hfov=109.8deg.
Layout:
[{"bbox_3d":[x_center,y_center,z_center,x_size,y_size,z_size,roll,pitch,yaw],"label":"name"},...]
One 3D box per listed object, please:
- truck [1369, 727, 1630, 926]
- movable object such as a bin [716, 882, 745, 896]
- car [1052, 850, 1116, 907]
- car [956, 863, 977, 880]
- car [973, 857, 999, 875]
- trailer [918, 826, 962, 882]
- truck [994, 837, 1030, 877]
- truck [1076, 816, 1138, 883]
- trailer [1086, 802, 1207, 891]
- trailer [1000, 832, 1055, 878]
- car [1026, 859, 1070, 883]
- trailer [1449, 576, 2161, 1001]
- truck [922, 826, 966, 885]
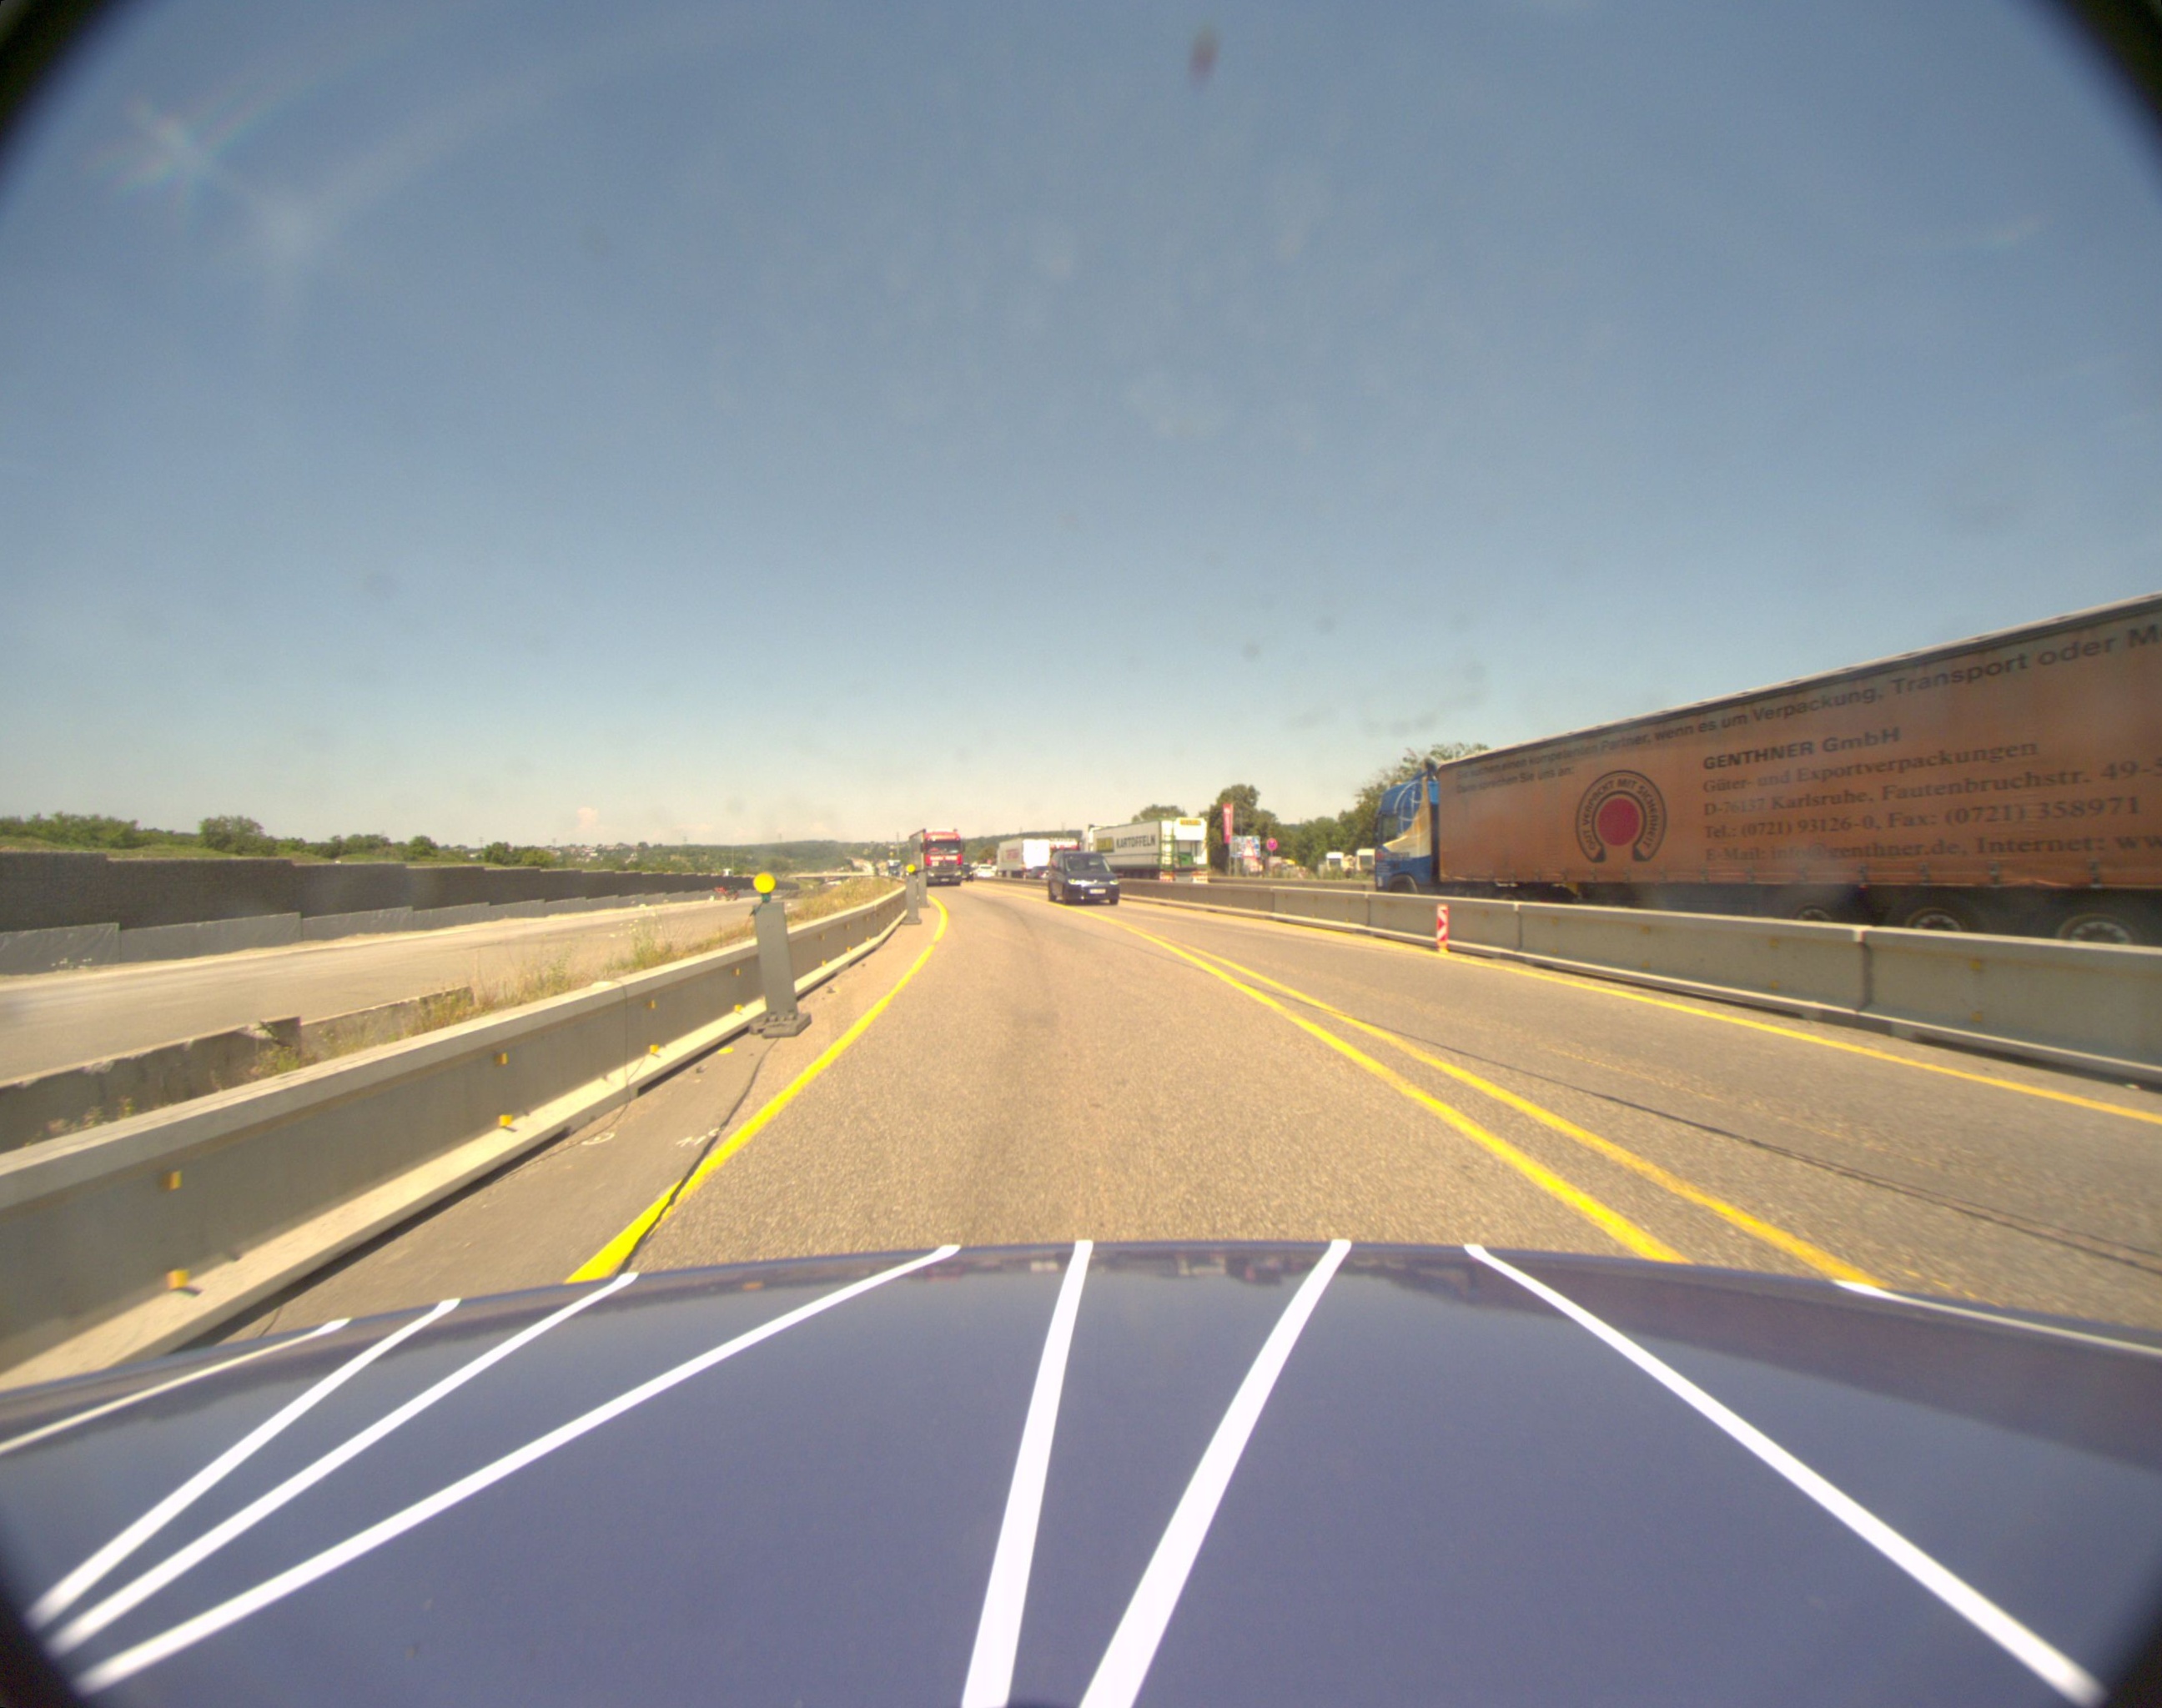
[{"bbox_3d":[9.749,-0.580,18.453,2.553,4.057,5.540,-2,0,-11],"label":"truck"},{"bbox_3d":[-58.884,5.845,127.626,4.142,2.135,1.758,-2,0,-42],"label":"movable object such as a bin"},{"bbox_3d":[0.008,0.805,26.503,1.926,1.779,4.602,0,-1,-3],"label":"car"},{"bbox_3d":[-10.327,1.562,68.511,1.429,1.477,3.410,-2,0,-15],"label":"car"},{"bbox_3d":[-9.905,1.236,78.742,2.001,1.728,4.487,1,0,-16],"label":"car"},{"bbox_3d":[-11.123,-0.005,59.147,2.704,3.852,12.408,-2,0,-13],"label":"trailer"},{"bbox_3d":[-7.461,0.284,82.074,2.841,4.107,5.451,-2,0,-16],"label":"truck"},{"bbox_3d":[1.578,-0.257,48.037,2.457,3.984,5.070,-2,0,-15],"label":"truck"},{"bbox_3d":[3.171,-0.322,41.851,2.362,4.127,12.482,-2,0,-15],"label":"trailer"},{"bbox_3d":[-5.471,0.225,74.758,2.826,4.070,13.107,-2,-1,-15],"label":"trailer"},{"bbox_3d":[-2.215,1.080,49.806,1.761,1.469,4.530,-2,0,-17],"label":"car"},{"bbox_3d":[11.068,-0.643,11.506,2.596,4.127,13.052,-2,0,-10],"label":"trailer"},{"bbox_3d":[-9.636,0.076,53.166,2.630,3.880,4.928,-2,0,-13],"label":"truck"}]
